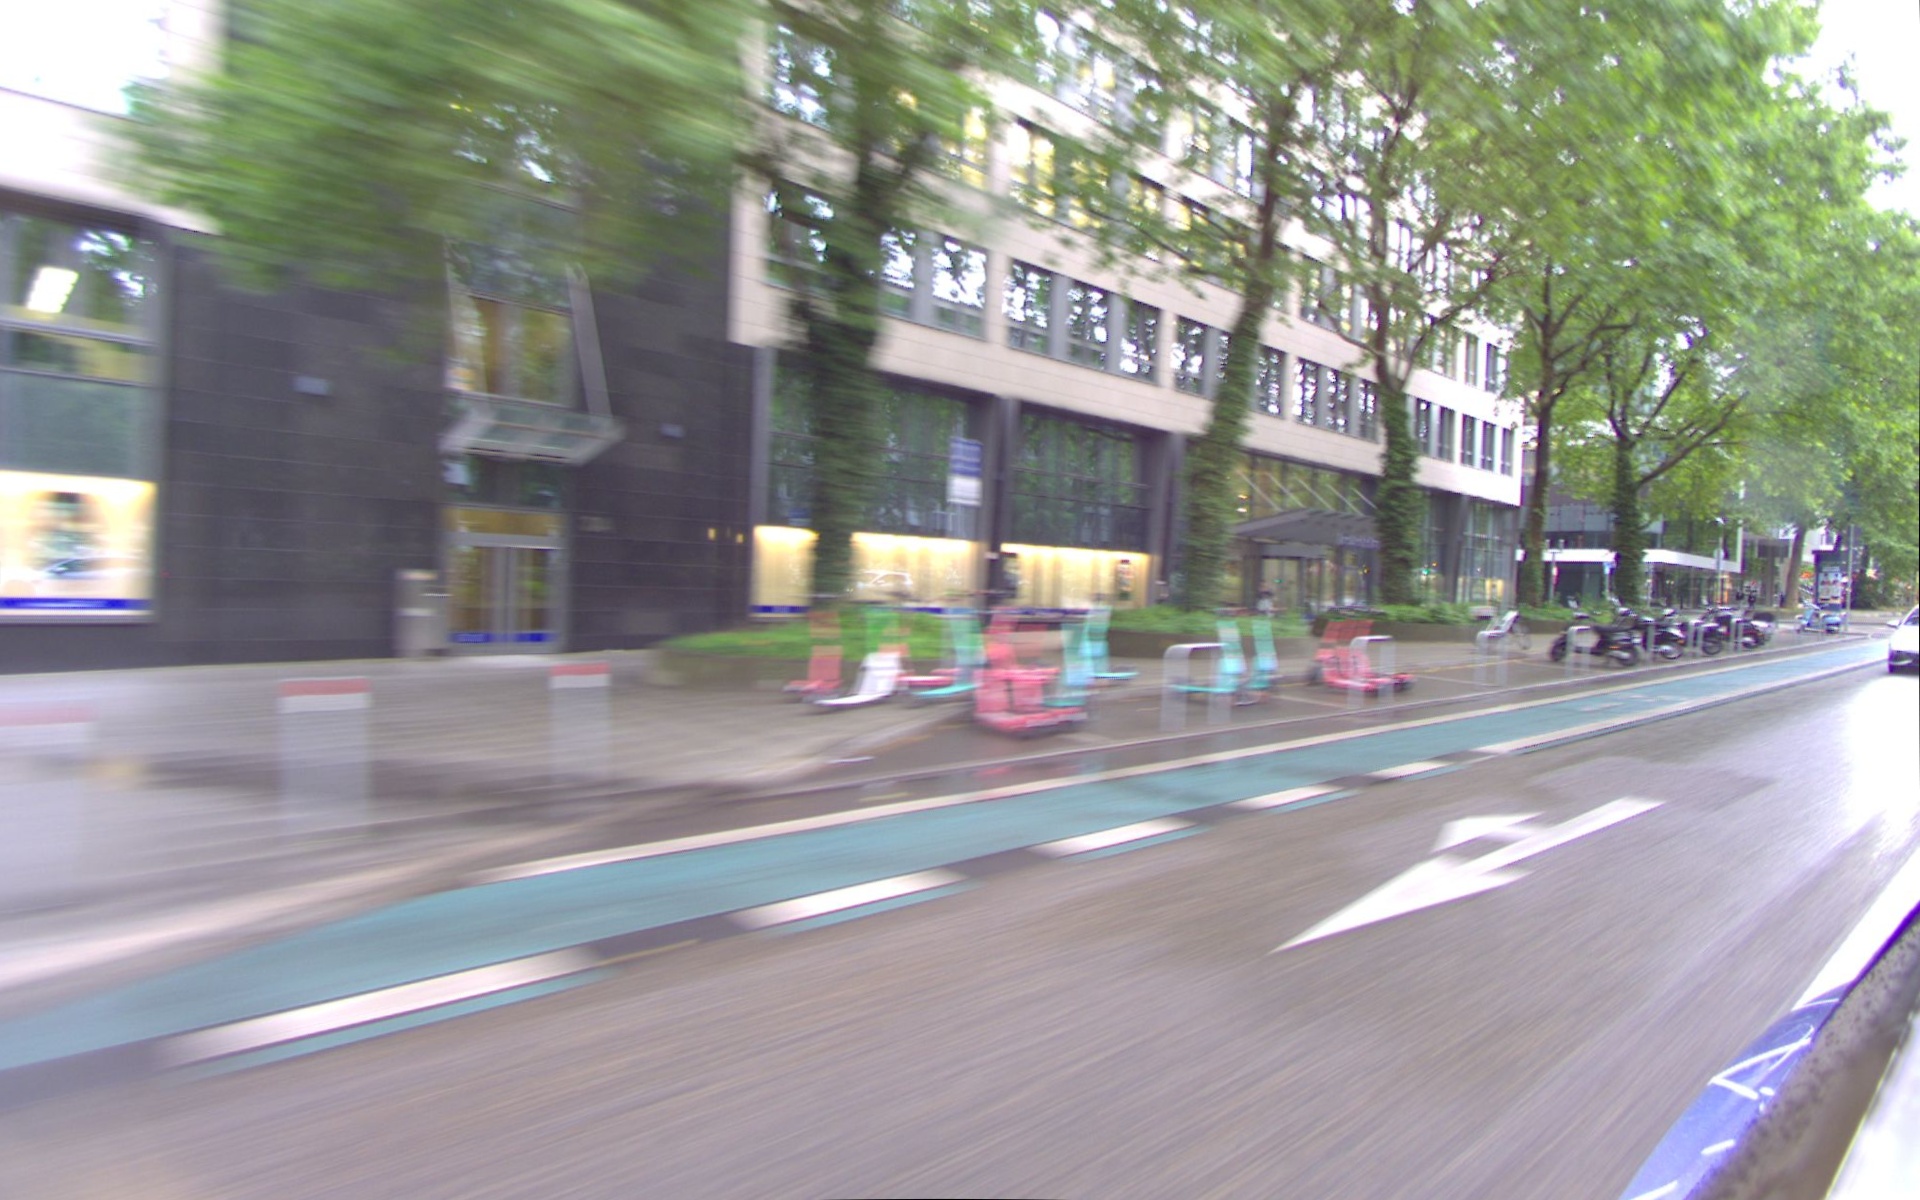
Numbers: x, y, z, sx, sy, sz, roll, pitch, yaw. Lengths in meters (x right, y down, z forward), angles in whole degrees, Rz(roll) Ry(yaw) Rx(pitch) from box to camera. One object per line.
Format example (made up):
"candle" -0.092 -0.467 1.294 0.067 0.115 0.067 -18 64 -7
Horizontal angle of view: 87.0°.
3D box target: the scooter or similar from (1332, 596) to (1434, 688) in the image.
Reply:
"scooter or similar" 6.408 0.617 15.386 0.527 1.294 1.294 2 1 -36

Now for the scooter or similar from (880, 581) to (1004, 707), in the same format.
"scooter or similar" -0.184 0.468 10.981 1.270 1.275 0.488 2 1 -41

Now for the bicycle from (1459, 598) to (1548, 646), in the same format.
"bicycle" 12.059 0.480 22.465 1.726 1.041 0.640 0 1 -11

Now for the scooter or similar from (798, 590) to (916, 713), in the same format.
"scooter or similar" -1.078 0.509 10.744 0.487 1.212 1.275 1 1 40

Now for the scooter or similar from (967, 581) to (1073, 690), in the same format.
"scooter or similar" 0.751 0.433 12.527 1.270 1.275 0.488 2 1 -41

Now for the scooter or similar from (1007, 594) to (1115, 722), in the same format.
"scooter or similar" 1.090 0.605 11.136 0.479 1.275 1.296 2 1 -28

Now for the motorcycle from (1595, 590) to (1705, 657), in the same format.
"motorcycle" 15.748 0.525 23.161 1.945 1.391 0.722 3 1 29

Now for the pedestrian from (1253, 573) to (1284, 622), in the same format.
"pedestrian" 11.088 -0.111 36.390 0.813 1.714 0.729 2 1 2

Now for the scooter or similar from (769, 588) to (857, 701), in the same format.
"scooter or similar" -1.685 0.483 11.762 0.483 1.212 1.286 0 1 18

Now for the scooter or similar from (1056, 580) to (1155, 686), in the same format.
"scooter or similar" 1.879 0.417 13.009 1.270 1.275 0.488 2 1 -41

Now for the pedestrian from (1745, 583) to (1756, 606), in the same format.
"pedestrian" 65.302 -0.460 83.561 0.692 1.881 0.523 -2 4 -40

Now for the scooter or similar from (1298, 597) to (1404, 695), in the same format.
"scooter or similar" 5.626 0.636 14.591 1.288 1.294 0.529 4 1 40

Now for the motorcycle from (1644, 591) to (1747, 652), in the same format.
"motorcycle" 18.359 0.513 25.329 1.945 1.391 0.722 3 1 29

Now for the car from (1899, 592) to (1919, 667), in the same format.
"car" 20.991 0.589 20.993 3.726 1.490 1.794 0 0 -40

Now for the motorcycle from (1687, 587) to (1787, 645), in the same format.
"motorcycle" 21.600 0.429 28.184 2.042 1.446 0.722 3 1 29

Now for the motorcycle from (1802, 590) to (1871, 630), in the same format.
"motorcycle" 33.319 0.364 38.486 1.909 1.383 0.685 2 4 0

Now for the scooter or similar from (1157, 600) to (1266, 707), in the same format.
"scooter or similar" 3.227 0.659 13.077 0.480 1.251 1.293 2 1 -38

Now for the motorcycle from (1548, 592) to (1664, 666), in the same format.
"motorcycle" 13.369 0.580 20.991 1.949 1.391 0.720 4 1 34

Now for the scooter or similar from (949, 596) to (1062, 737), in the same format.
"scooter or similar" 0.429 0.627 10.169 0.479 1.275 1.296 2 1 -28

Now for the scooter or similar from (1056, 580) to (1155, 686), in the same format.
"scooter or similar" 1.879 0.417 13.009 1.270 1.275 0.488 2 1 -41

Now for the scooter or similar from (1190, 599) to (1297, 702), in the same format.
"scooter or similar" 3.779 0.647 13.558 0.480 1.251 1.293 2 1 -38

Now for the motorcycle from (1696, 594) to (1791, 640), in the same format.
"motorcycle" 23.150 0.490 29.945 2.030 1.227 0.682 3 3 15

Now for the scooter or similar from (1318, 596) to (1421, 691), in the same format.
"scooter or similar" 6.088 0.624 15.088 0.527 1.294 1.294 2 1 -36

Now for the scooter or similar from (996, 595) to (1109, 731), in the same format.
"scooter or similar" 0.932 0.618 10.503 0.479 1.275 1.296 2 1 -28

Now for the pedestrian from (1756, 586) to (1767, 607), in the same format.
"pedestrian" 65.900 -0.313 83.239 0.707 1.645 0.527 -2 4 -40
